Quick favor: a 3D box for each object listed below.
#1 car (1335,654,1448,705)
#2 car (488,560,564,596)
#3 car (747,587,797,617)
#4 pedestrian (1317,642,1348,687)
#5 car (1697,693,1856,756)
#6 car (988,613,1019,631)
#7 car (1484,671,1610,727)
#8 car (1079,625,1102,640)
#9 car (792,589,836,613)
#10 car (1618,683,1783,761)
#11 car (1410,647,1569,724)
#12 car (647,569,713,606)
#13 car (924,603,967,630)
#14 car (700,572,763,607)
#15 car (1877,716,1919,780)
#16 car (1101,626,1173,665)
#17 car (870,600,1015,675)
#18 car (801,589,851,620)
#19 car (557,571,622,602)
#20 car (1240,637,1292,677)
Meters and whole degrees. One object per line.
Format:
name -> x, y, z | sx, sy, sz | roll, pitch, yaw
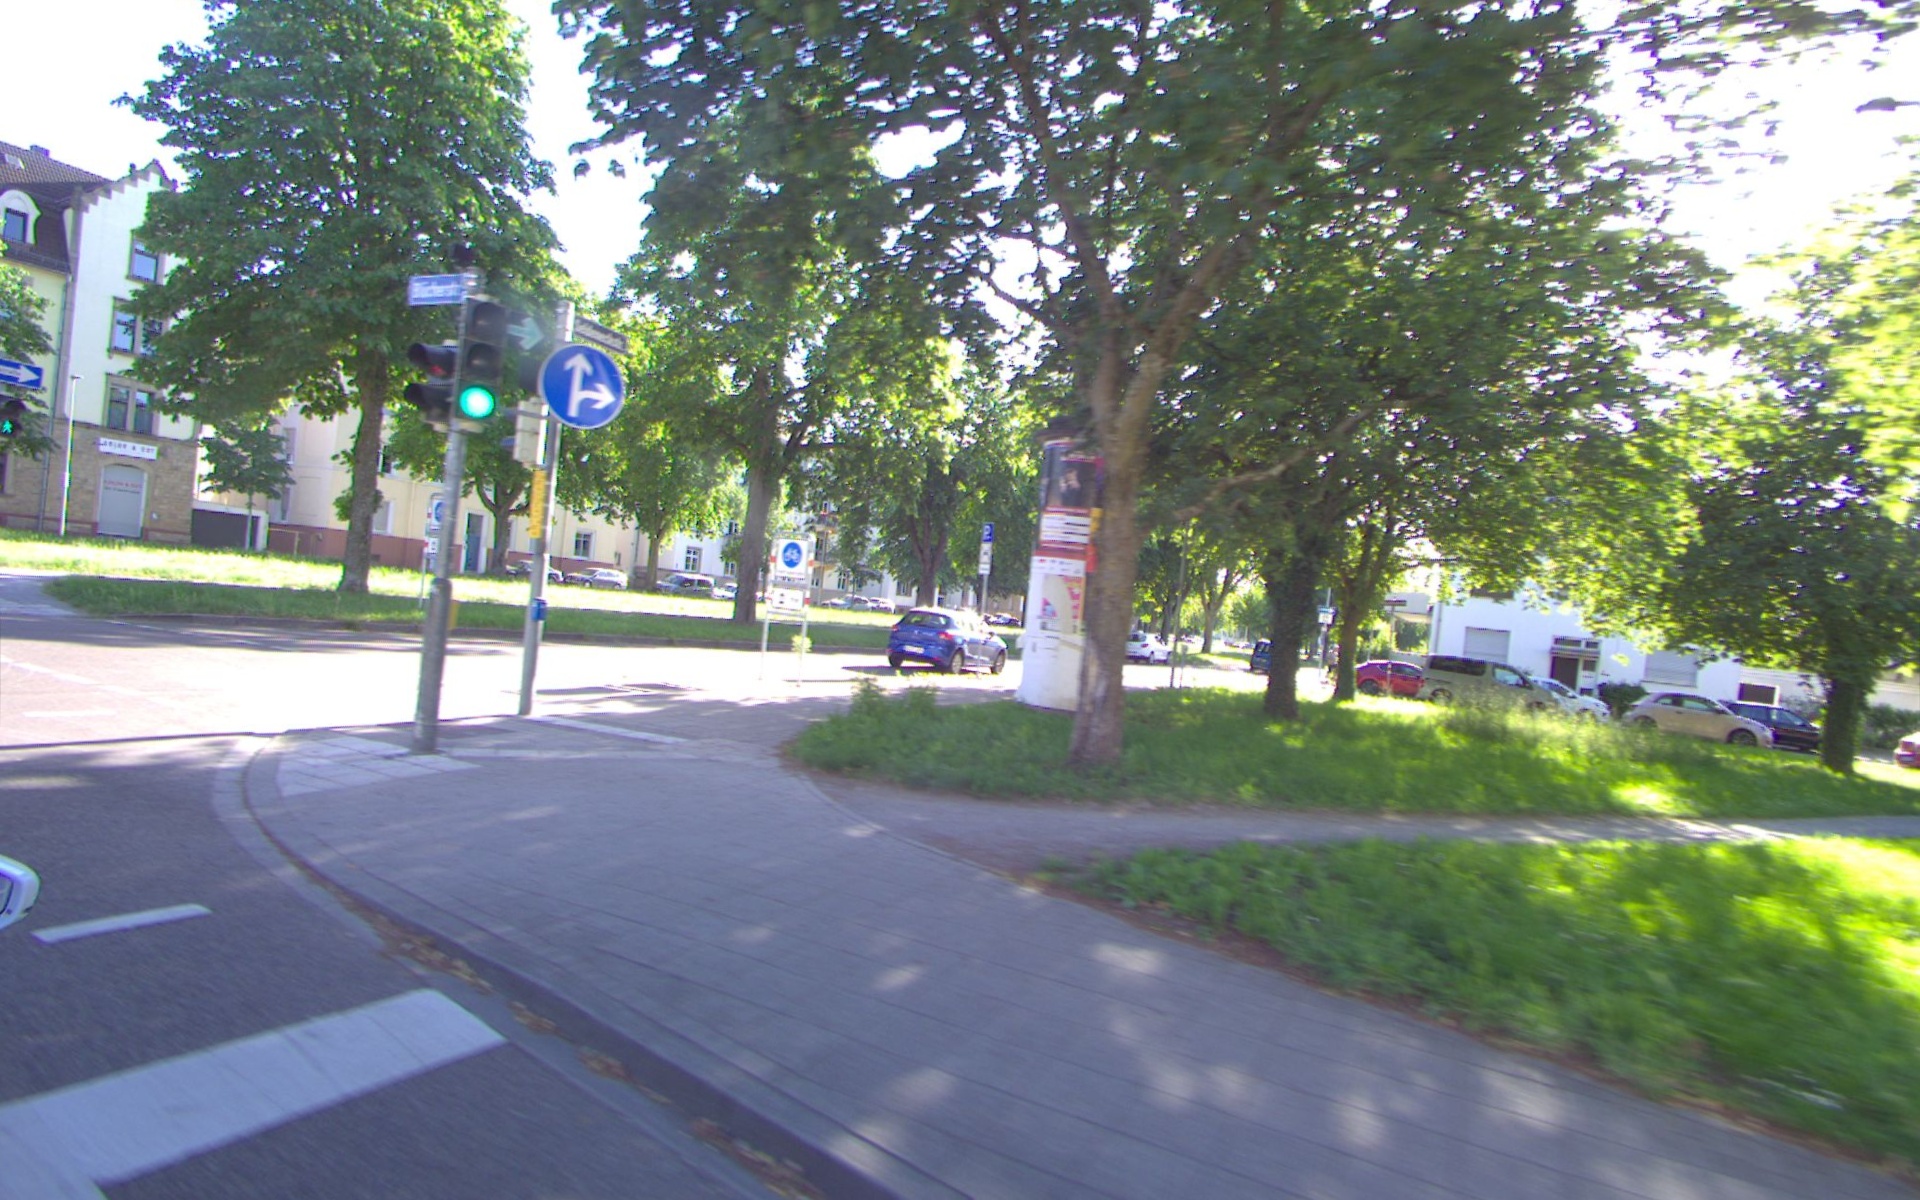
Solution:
car -> 17.130, 3.124, 39.957 | 3.830, 1.489, 1.756 | 6, 0, 30
car -> -26.942, -1.361, 62.583 | 1.797, 1.624, 3.848 | 8, -1, 31
car -> -15.491, 0.189, 83.072 | 1.895, 1.903, 3.703 | 6, -2, 29
pedestrian -> 16.252, 2.818, 43.866 | 0.886, 1.790, 1.023 | 6, -1, 34
car -> 27.498, 4.158, 34.034 | 3.832, 1.489, 1.755 | 6, 0, 32
car -> 4.637, 2.342, 106.198 | 1.624, 1.536, 3.398 | 6, -2, 34
car -> 21.756, 3.641, 37.444 | 3.830, 1.489, 1.756 | 6, 0, 30
car -> 16.631, 4.184, 128.326 | 1.622, 1.536, 3.402 | 6, -2, 29
car -> -12.774, 0.082, 88.373 | 1.707, 1.622, 3.700 | 6, -2, 33
car -> 21.679, 3.532, 29.579 | 3.656, 1.668, 1.916 | 6, 0, 37
car -> 17.074, 2.717, 32.518 | 4.270, 1.858, 1.919 | 6, 0, 32
car -> -18.249, -0.796, 65.661 | 1.897, 1.903, 3.699 | 6, -2, 33
car -> -1.358, 1.622, 96.912 | 1.895, 2.054, 4.657 | 6, -2, 30
car -> -16.024, -0.716, 70.652 | 1.895, 1.903, 4.064 | 6, -2, 29
car -> 27.286, 4.210, 26.501 | 4.201, 1.554, 1.608 | 8, 1, 16
car -> 8.052, 2.082, 45.549 | 1.786, 1.451, 3.992 | 6, 0, 31
car -> -0.311, 0.929, 24.027 | 1.784, 1.451, 3.997 | 6, 0, 25
car -> -10.686, 0.382, 80.421 | 1.895, 1.903, 3.703 | 6, -2, 29
car -> -24.488, -0.891, 66.640 | 1.705, 1.530, 3.703 | 6, -2, 29
car -> 16.797, 3.144, 55.163 | 1.786, 1.845, 3.997 | 4, -3, 29
